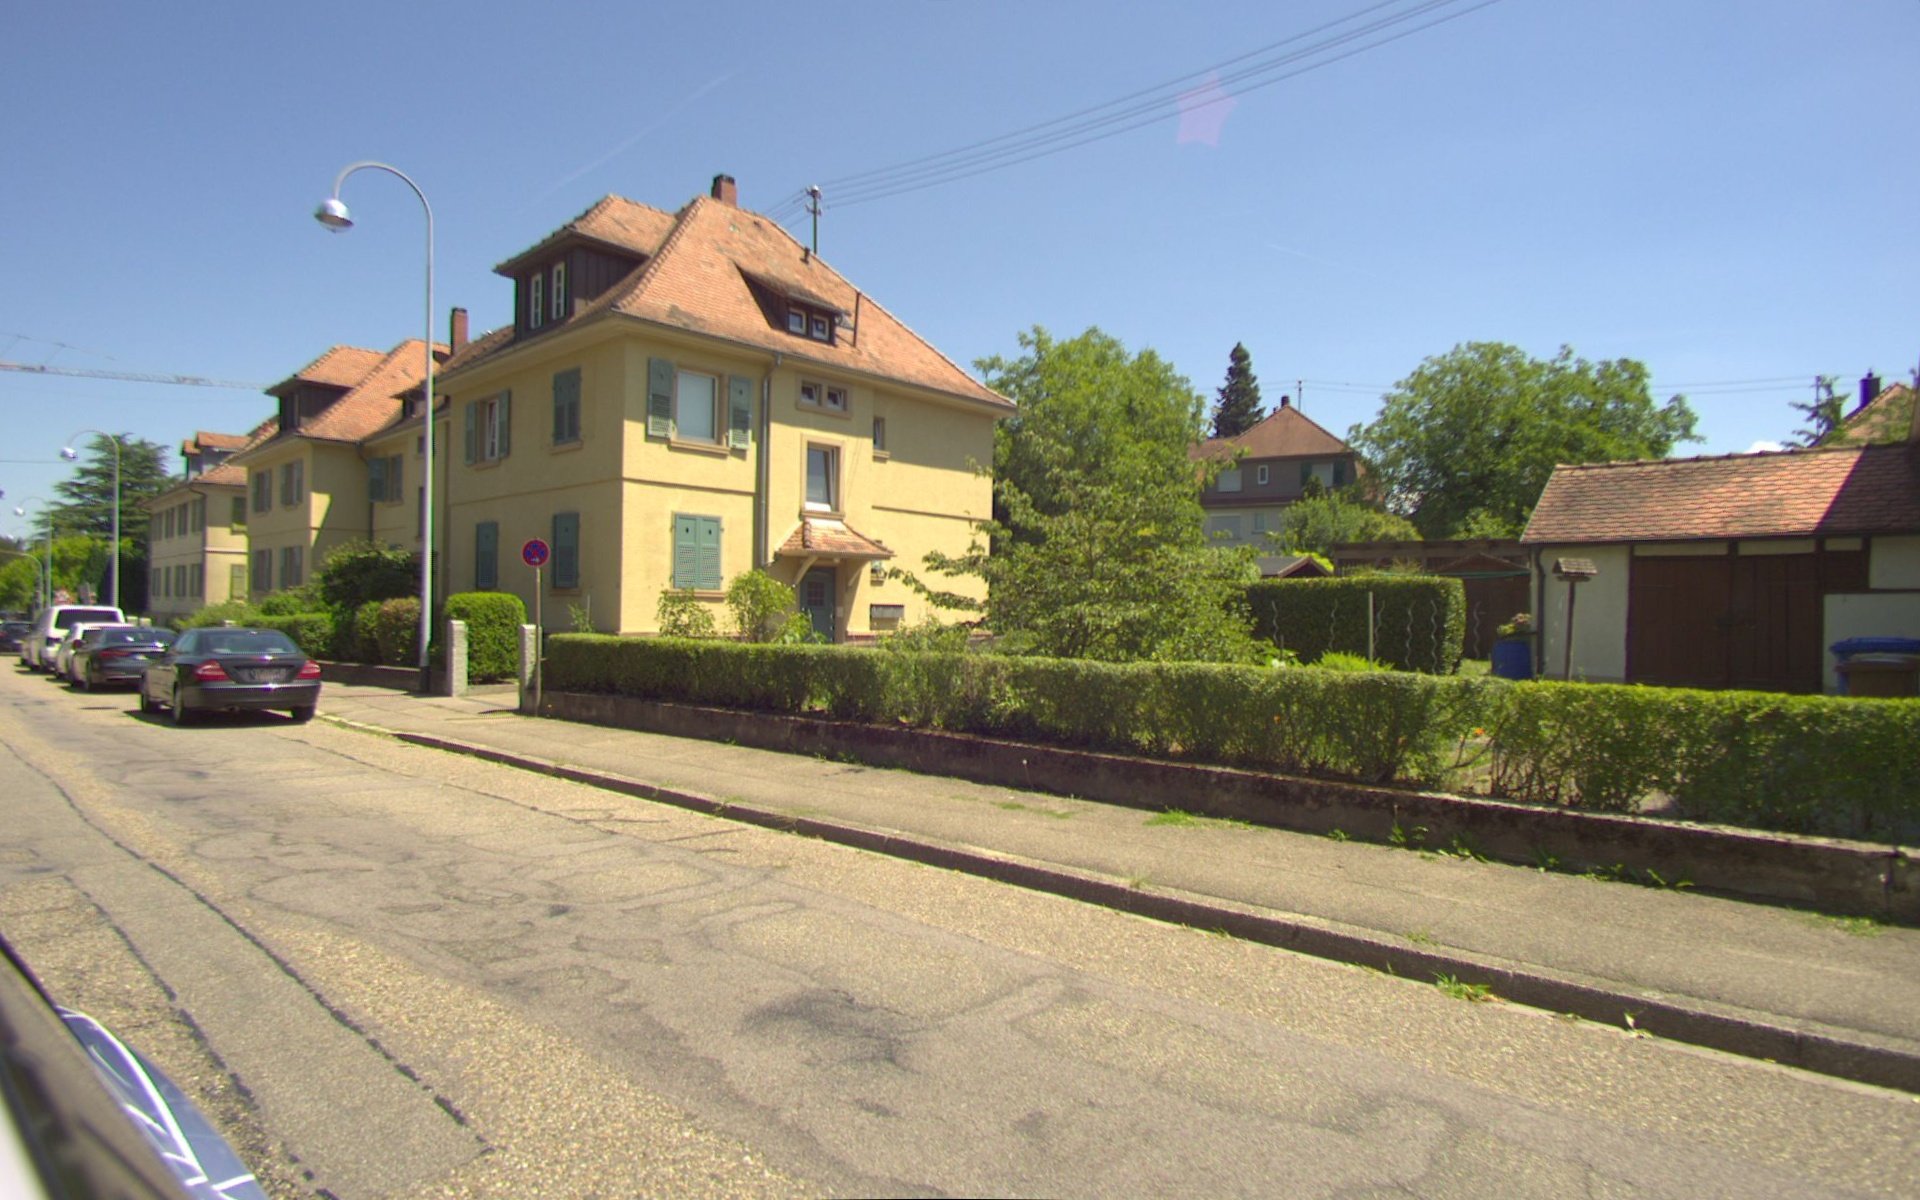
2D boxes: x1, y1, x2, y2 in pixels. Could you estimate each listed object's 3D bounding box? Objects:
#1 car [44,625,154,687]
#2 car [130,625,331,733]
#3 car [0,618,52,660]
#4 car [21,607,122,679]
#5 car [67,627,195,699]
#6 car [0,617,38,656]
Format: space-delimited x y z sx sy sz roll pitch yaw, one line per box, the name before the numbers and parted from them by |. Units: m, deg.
car | -21.870 1.377 25.651 4.001 1.447 1.729 -1 -3 44
car | -11.309 1.139 15.597 4.000 1.409 1.730 -1 -4 43
car | -40.192 1.627 43.219 1.970 1.696 4.004 -1 0 -43
car | -25.400 1.222 28.895 4.000 1.911 1.730 -2 -3 43
car | -18.059 1.305 21.990 1.729 1.409 4.002 3 -3 -45
car | -44.149 1.679 46.932 1.970 1.696 4.004 -1 0 -43
